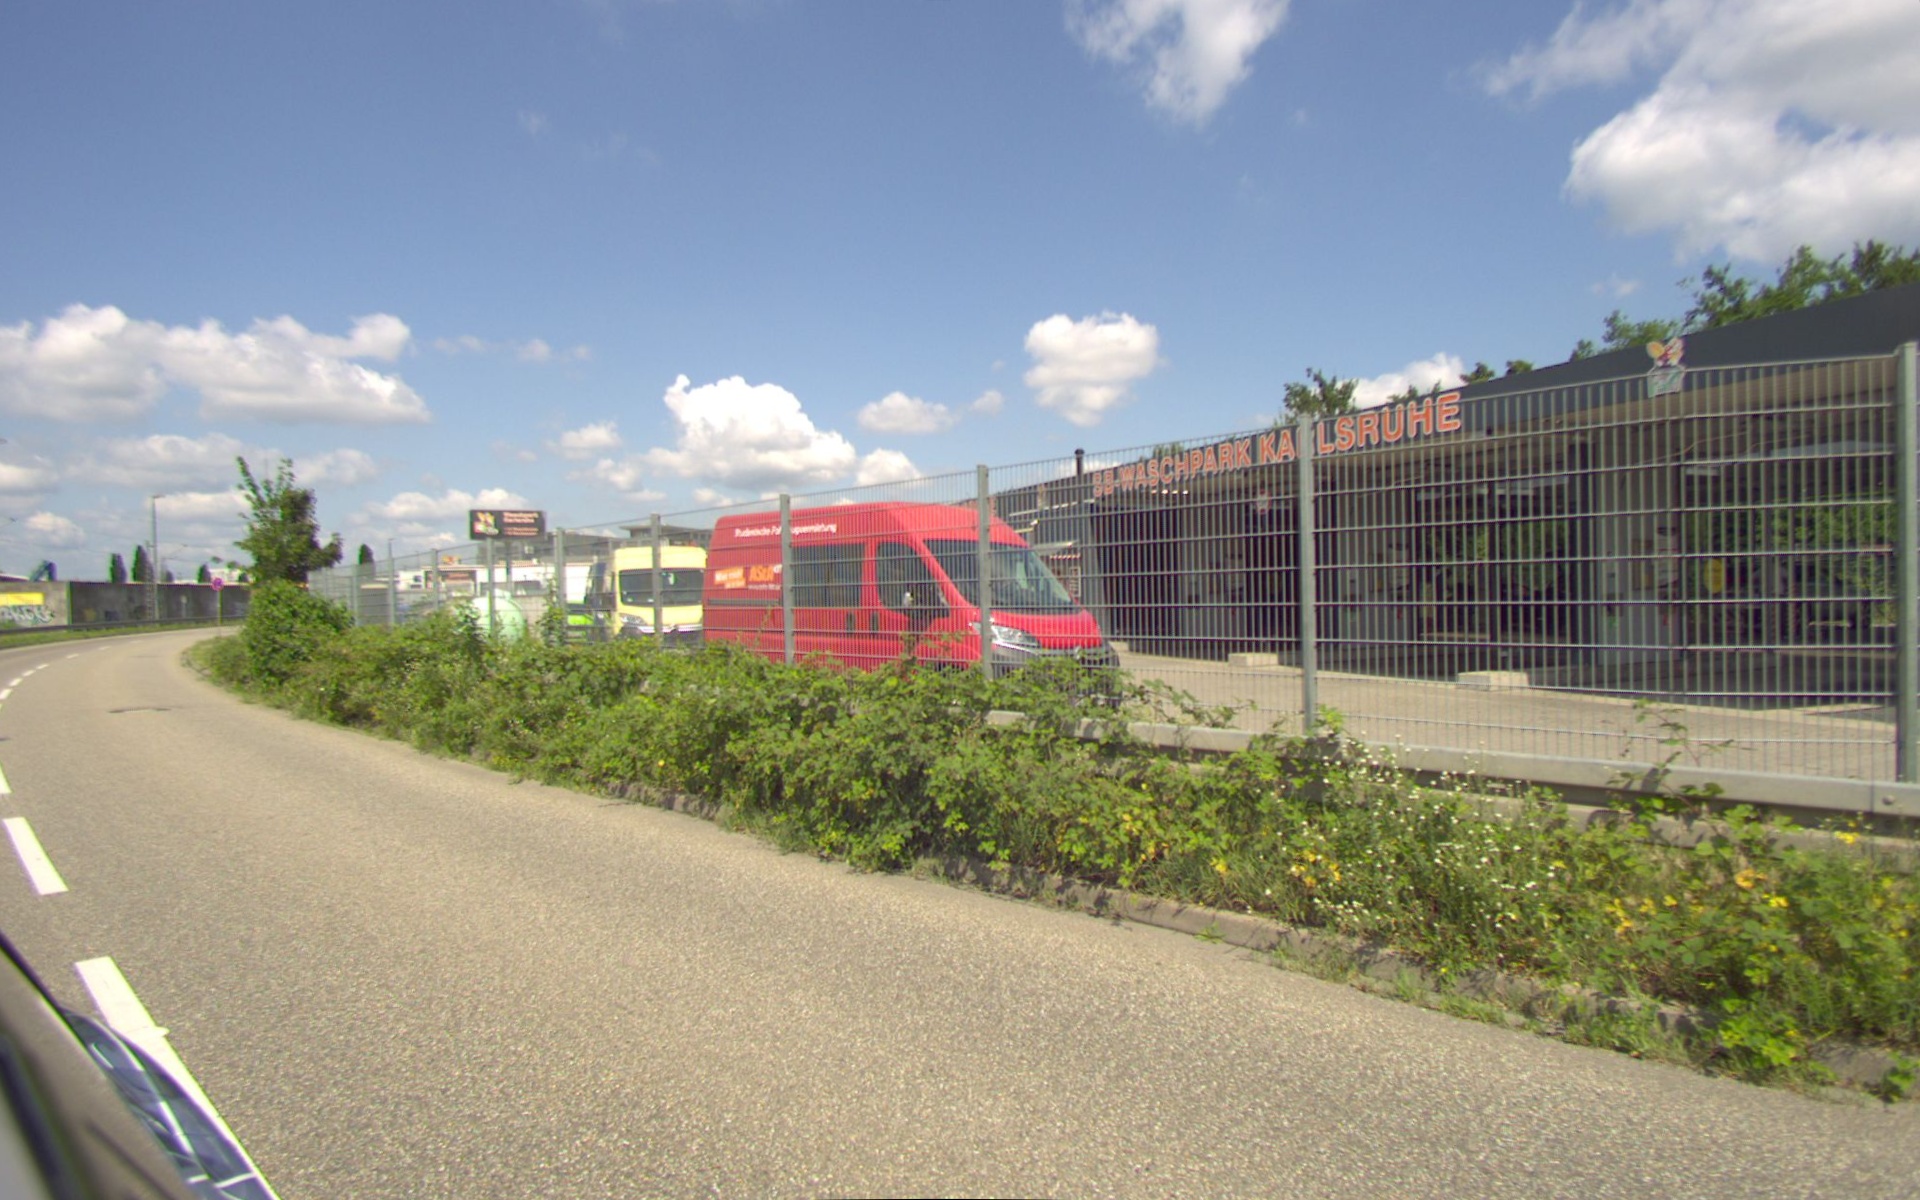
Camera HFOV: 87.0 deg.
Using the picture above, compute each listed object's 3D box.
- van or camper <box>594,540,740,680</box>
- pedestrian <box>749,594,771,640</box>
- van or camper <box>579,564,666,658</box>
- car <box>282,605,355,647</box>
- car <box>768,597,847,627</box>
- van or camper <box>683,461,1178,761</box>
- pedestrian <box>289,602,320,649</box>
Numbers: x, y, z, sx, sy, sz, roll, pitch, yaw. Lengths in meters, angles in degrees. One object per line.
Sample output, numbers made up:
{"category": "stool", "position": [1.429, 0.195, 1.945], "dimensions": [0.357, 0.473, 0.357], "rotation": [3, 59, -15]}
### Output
{"category": "van or camper", "position": [-6.143, 0.147, 20.671], "dimensions": [2.210, 2.443, 5.678], "rotation": [-1, 1, -22]}
{"category": "pedestrian", "position": [-7.742, 0.660, 39.211], "dimensions": [0.683, 1.762, 0.747], "rotation": [-1, 0, -24]}
{"category": "van or camper", "position": [-9.003, 0.239, 26.725], "dimensions": [1.848, 2.233, 5.125], "rotation": [-1, 1, -22]}
{"category": "car", "position": [-26.191, 1.066, 41.452], "dimensions": [1.903, 1.529, 4.790], "rotation": [-2, -1, -25]}
{"category": "car", "position": [-8.468, 0.629, 56.178], "dimensions": [3.931, 1.574, 2.007], "rotation": [-1, 0, -25]}
{"category": "van or camper", "position": [-0.617, 0.162, 11.309], "dimensions": [5.703, 2.533, 2.164], "rotation": [-1, -2, 44]}
{"category": "pedestrian", "position": [-22.170, 0.853, 34.244], "dimensions": [0.727, 1.553, 0.818], "rotation": [-1, 0, -23]}
